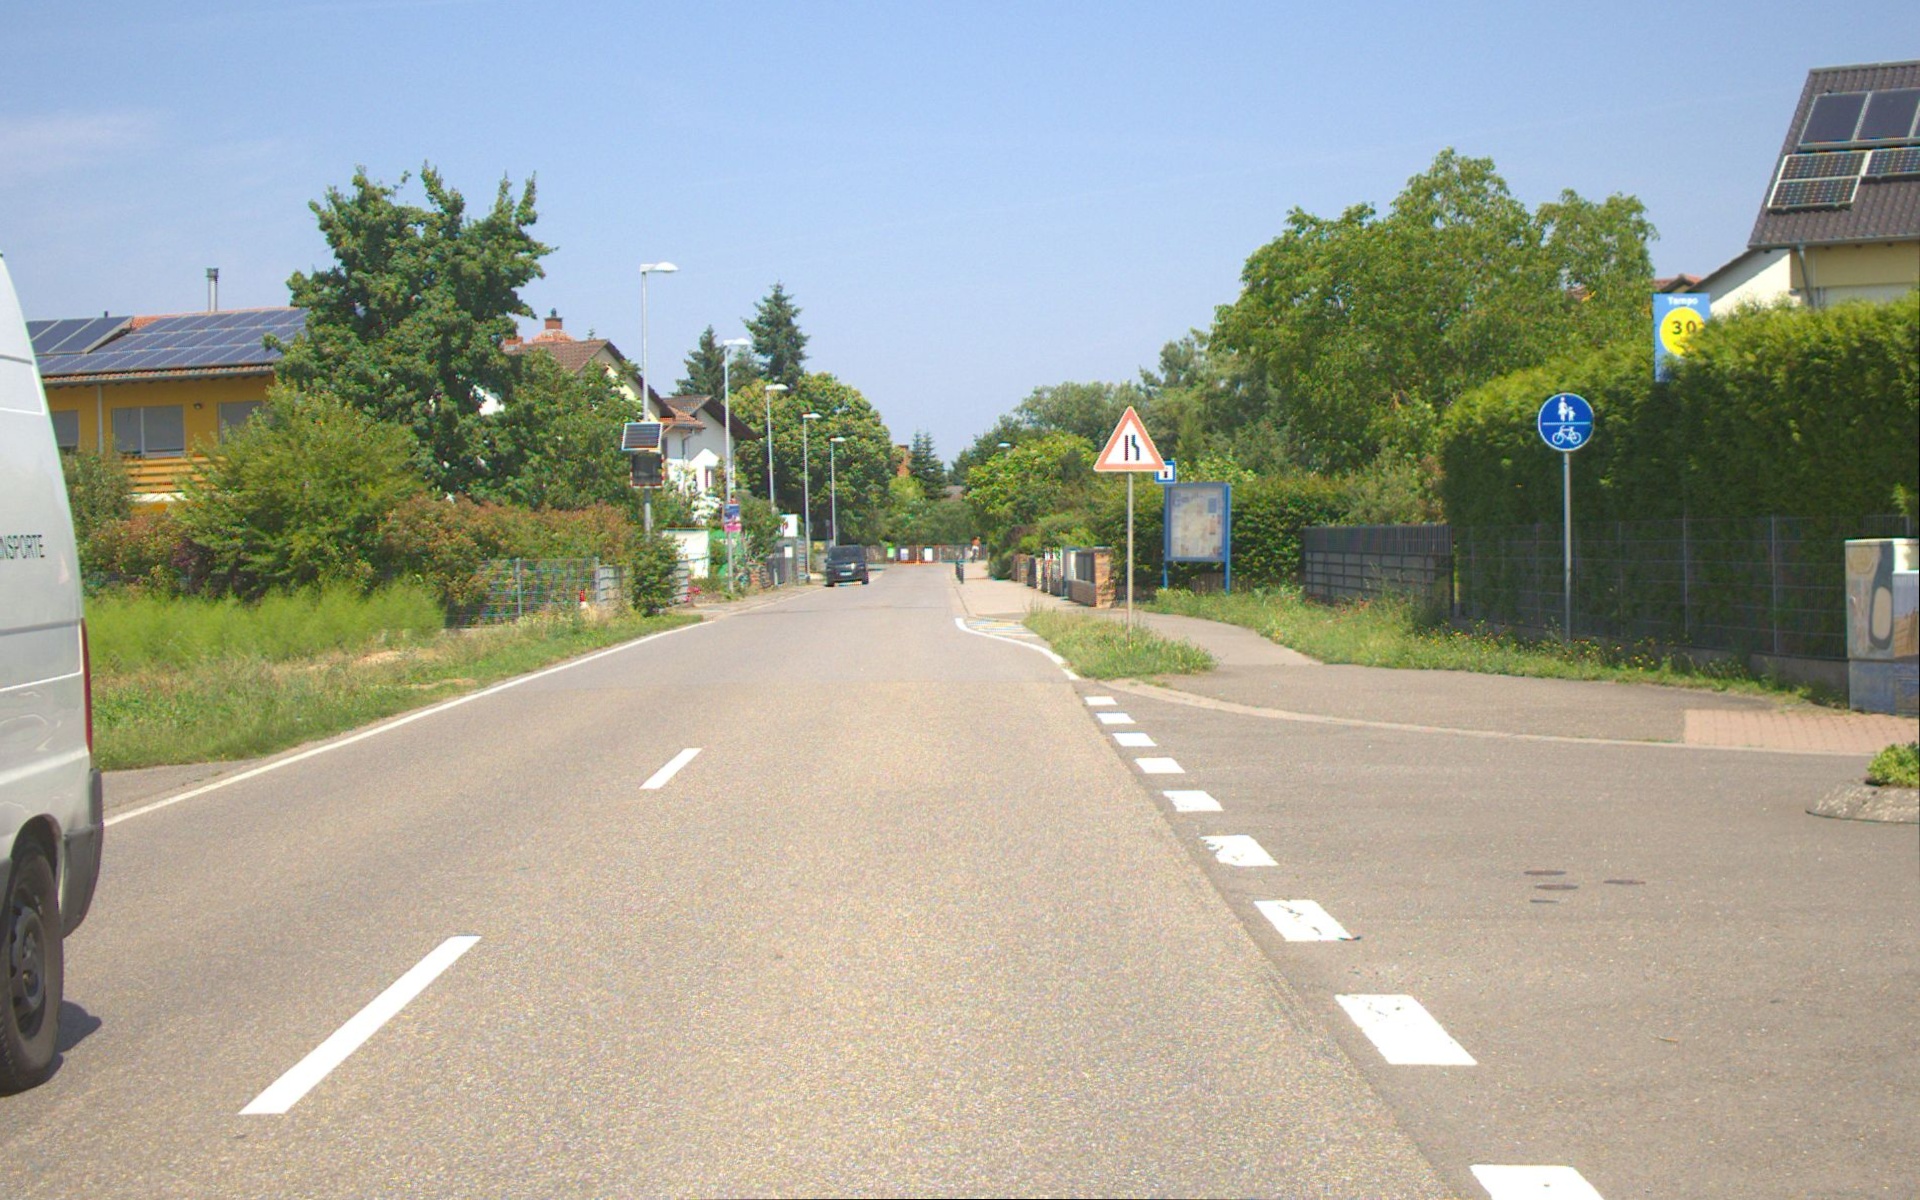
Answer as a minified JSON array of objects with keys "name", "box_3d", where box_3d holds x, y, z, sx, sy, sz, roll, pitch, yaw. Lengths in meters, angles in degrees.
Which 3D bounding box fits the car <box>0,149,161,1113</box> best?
[{"name":"car","box_3d":[-3.557,0.126,7.821,2.077,2.533,5.874,-2,1,-1]}]

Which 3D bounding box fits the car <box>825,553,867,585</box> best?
[{"name":"car","box_3d":[-5.099,-1.396,153.706,1.759,1.380,3.453,-2,1,-1]}]
